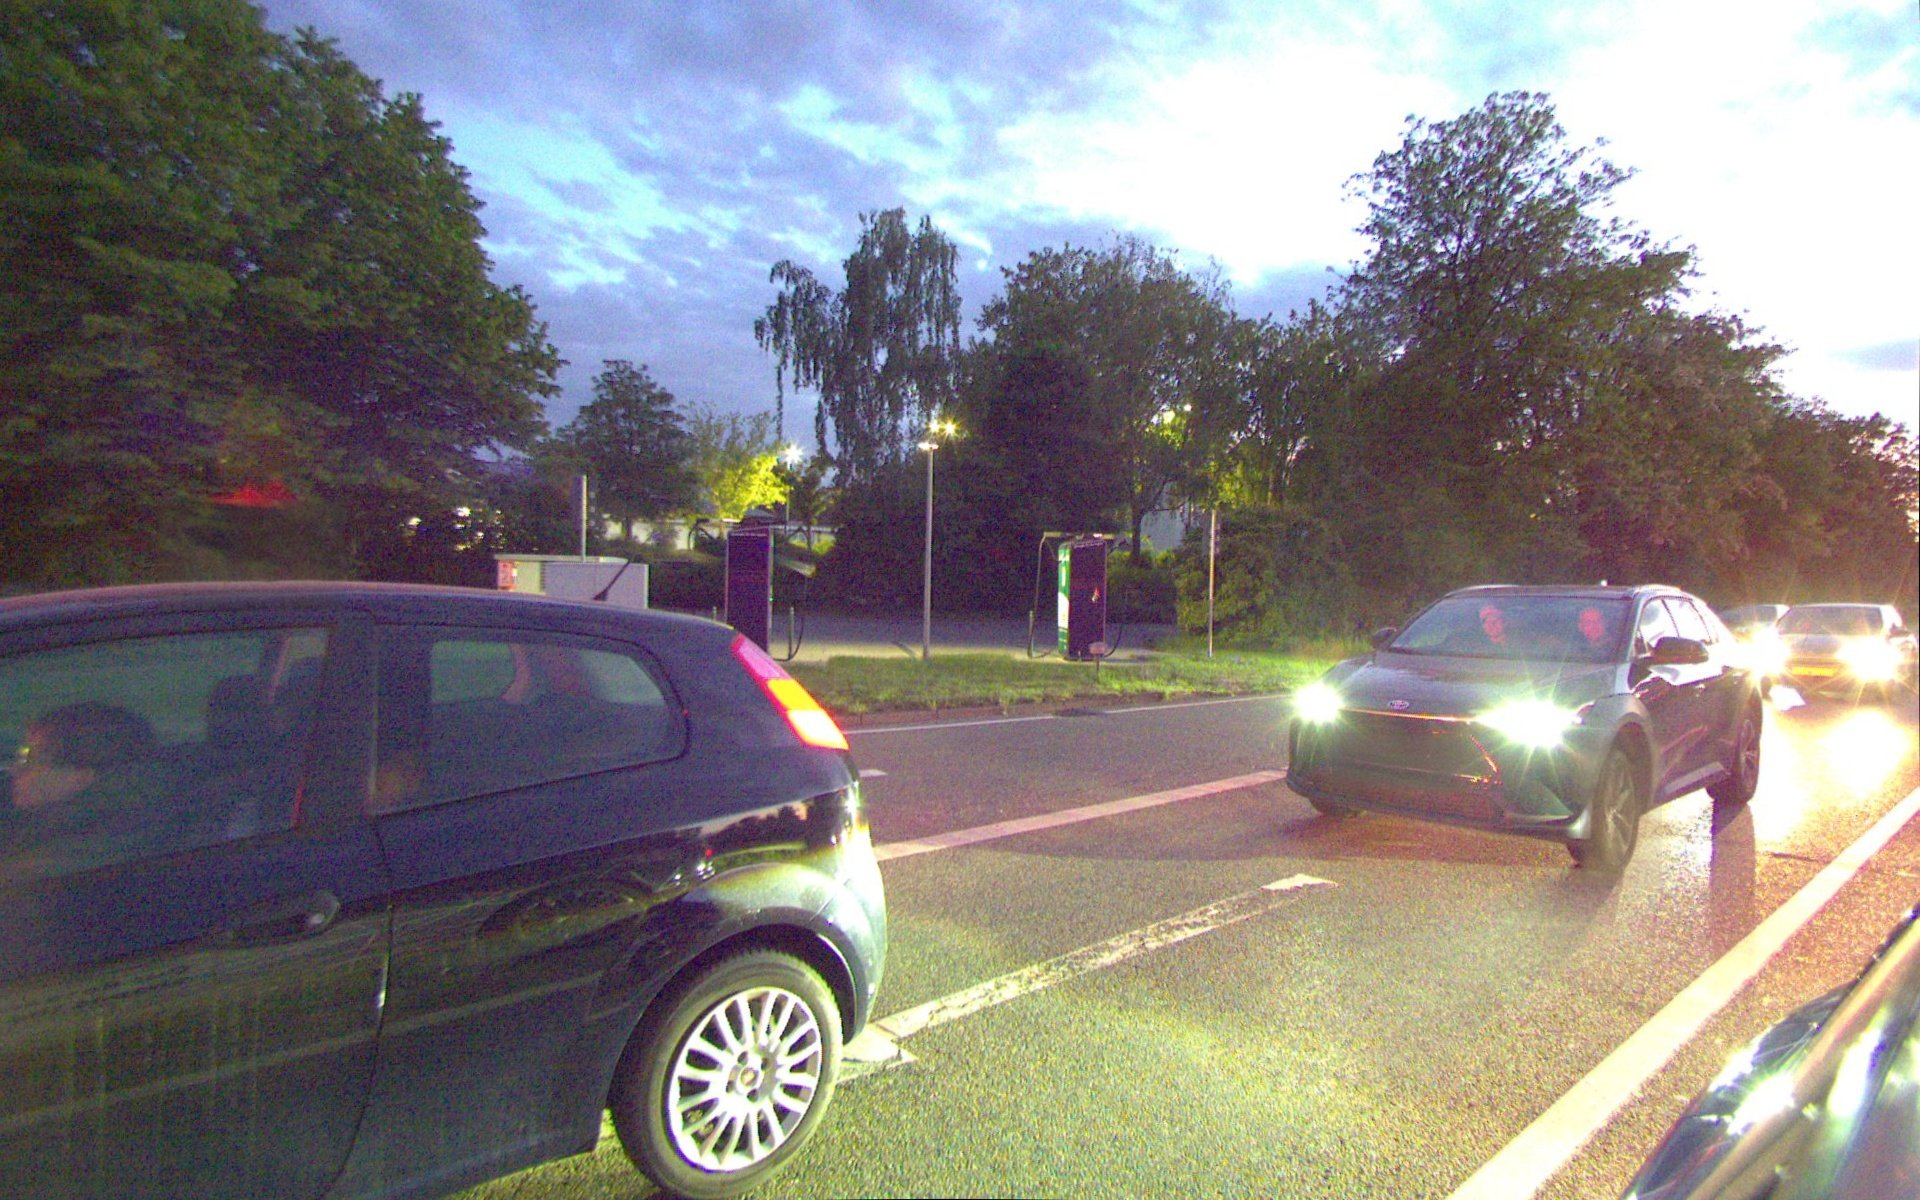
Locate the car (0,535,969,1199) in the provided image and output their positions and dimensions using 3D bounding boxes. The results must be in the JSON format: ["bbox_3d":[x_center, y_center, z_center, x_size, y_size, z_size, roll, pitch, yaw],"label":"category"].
[{"bbox_3d":[-2.059,0.658,2.156,4.032,1.540,1.674,0,1,-39],"label":"car"}]

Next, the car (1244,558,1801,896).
[{"bbox_3d":[4.190,0.602,7.166,4.629,1.630,1.997,0,0,-41],"label":"car"}]

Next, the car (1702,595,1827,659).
[{"bbox_3d":[20.600,0.623,25.851,4.625,1.450,1.920,0,1,-44],"label":"car"}]

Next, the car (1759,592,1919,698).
[{"bbox_3d":[14.224,0.630,16.170,3.803,1.487,1.622,0,0,-41],"label":"car"}]
